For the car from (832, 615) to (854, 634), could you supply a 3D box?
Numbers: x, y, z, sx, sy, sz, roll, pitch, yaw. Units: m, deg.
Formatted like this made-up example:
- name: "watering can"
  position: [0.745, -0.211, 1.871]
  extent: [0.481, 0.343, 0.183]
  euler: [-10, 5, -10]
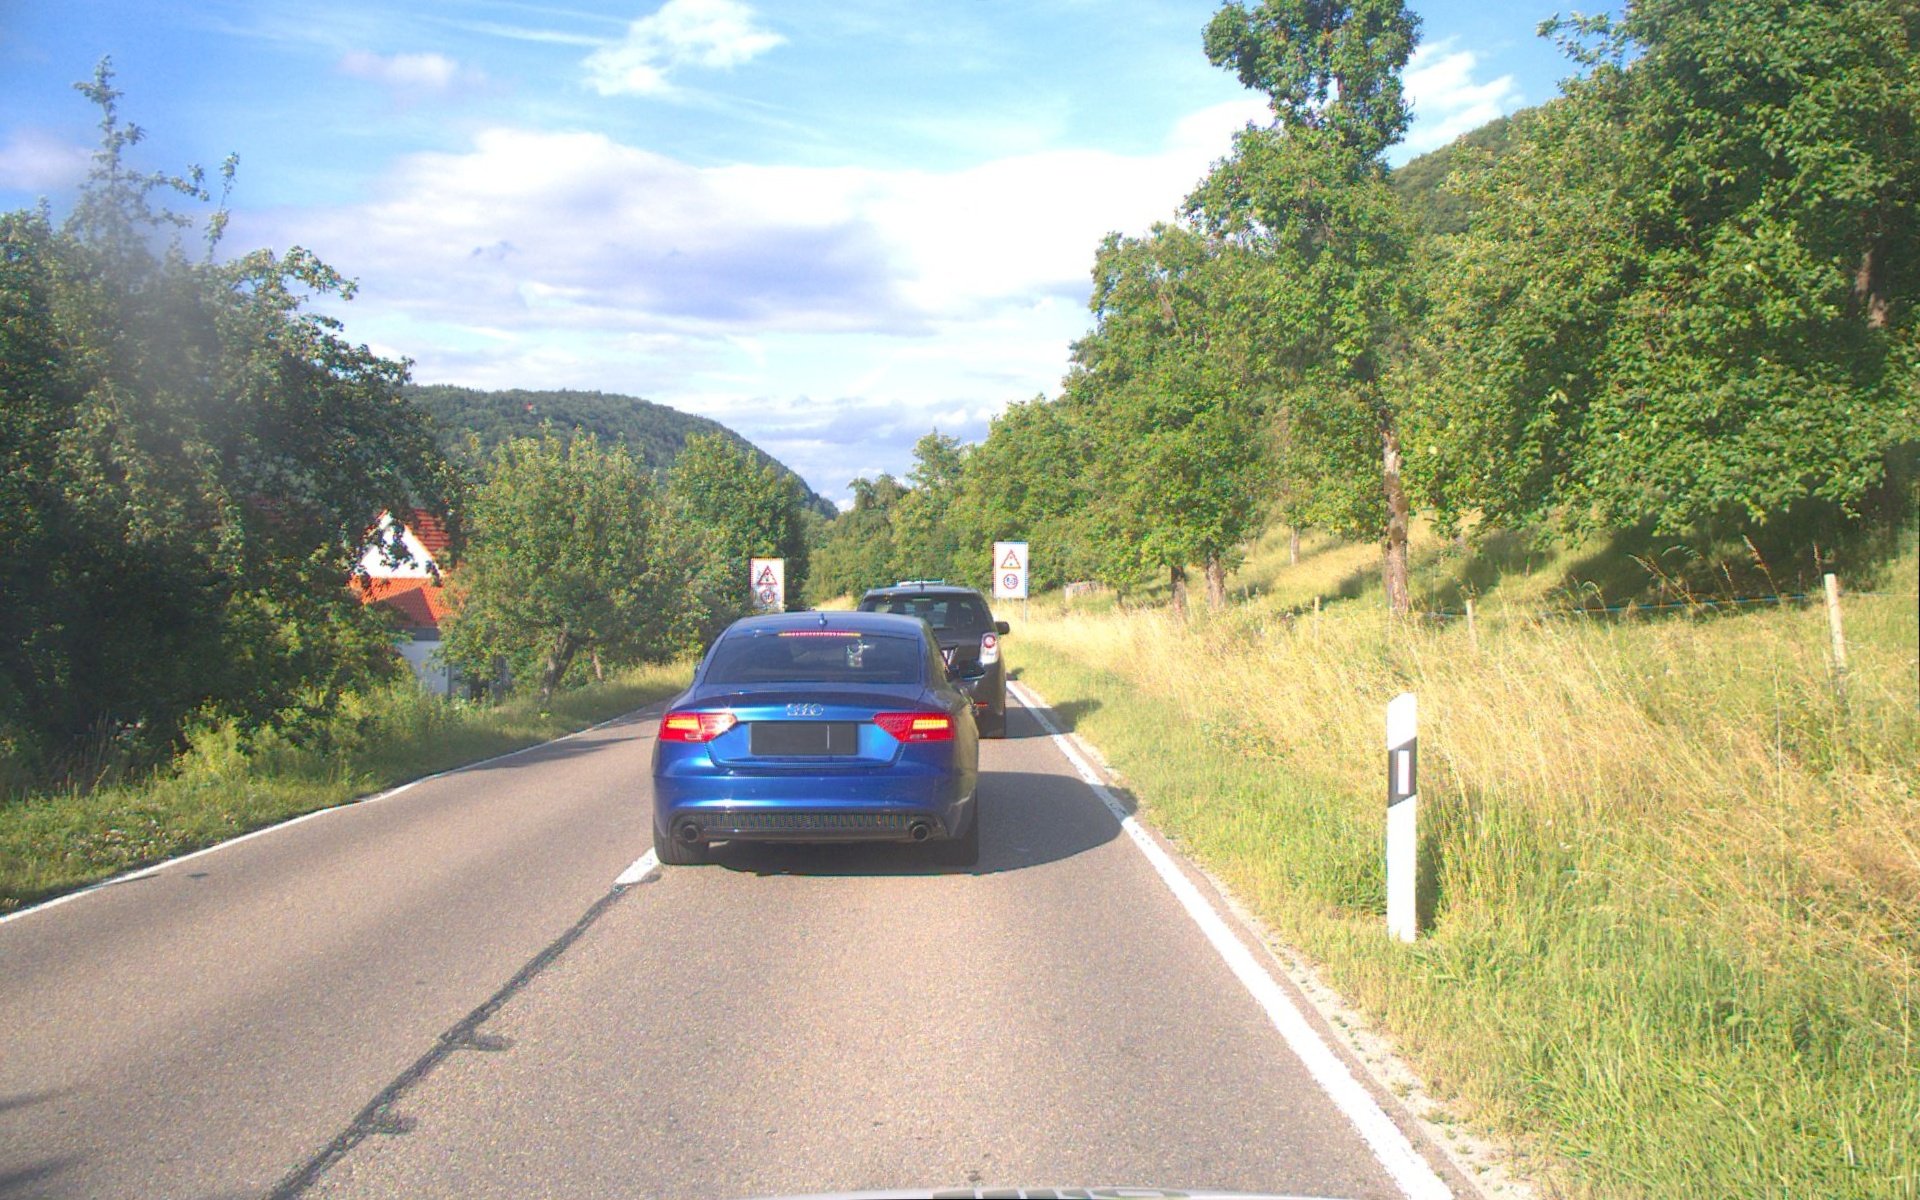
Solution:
- name: "car"
  position: [-10.046, 2.106, 141.779]
  extent: [1.530, 1.522, 3.770]
  euler: [2, 0, -9]

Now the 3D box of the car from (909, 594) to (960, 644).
- name: "car"
  position: [-0.860, 0.612, 55.908]
  extent: [1.658, 1.652, 3.788]
  euler: [0, 0, -1]

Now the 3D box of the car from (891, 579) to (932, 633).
- name: "car"
  position: [-2.347, 0.279, 79.688]
  extent: [1.757, 2.496, 3.916]
  euler: [2, 0, -4]

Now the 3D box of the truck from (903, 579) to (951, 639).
- name: "truck"
  position: [-1.413, 0.352, 70.008]
  extent: [1.910, 2.386, 5.092]
  euler: [2, 0, -2]

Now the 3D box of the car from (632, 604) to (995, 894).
- name: "car"
  position: [-0.736, 0.732, 10.196]
  extent: [1.769, 1.406, 4.214]
  euler: [0, 0, -1]

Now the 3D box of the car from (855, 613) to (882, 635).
- name: "car"
  position: [-7.015, 1.820, 126.867]
  extent: [1.715, 1.522, 3.771]
  euler: [2, 0, -8]

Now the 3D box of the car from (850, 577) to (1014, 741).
- name: "car"
  position: [-0.320, 0.588, 18.670]
  extent: [1.658, 1.652, 3.788]
  euler: [0, 0, -1]

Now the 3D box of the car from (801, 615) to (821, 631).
- name: "car"
  position: [-14.805, 2.284, 164.181]
  extent: [1.532, 1.522, 3.765]
  euler: [2, 0, -13]
